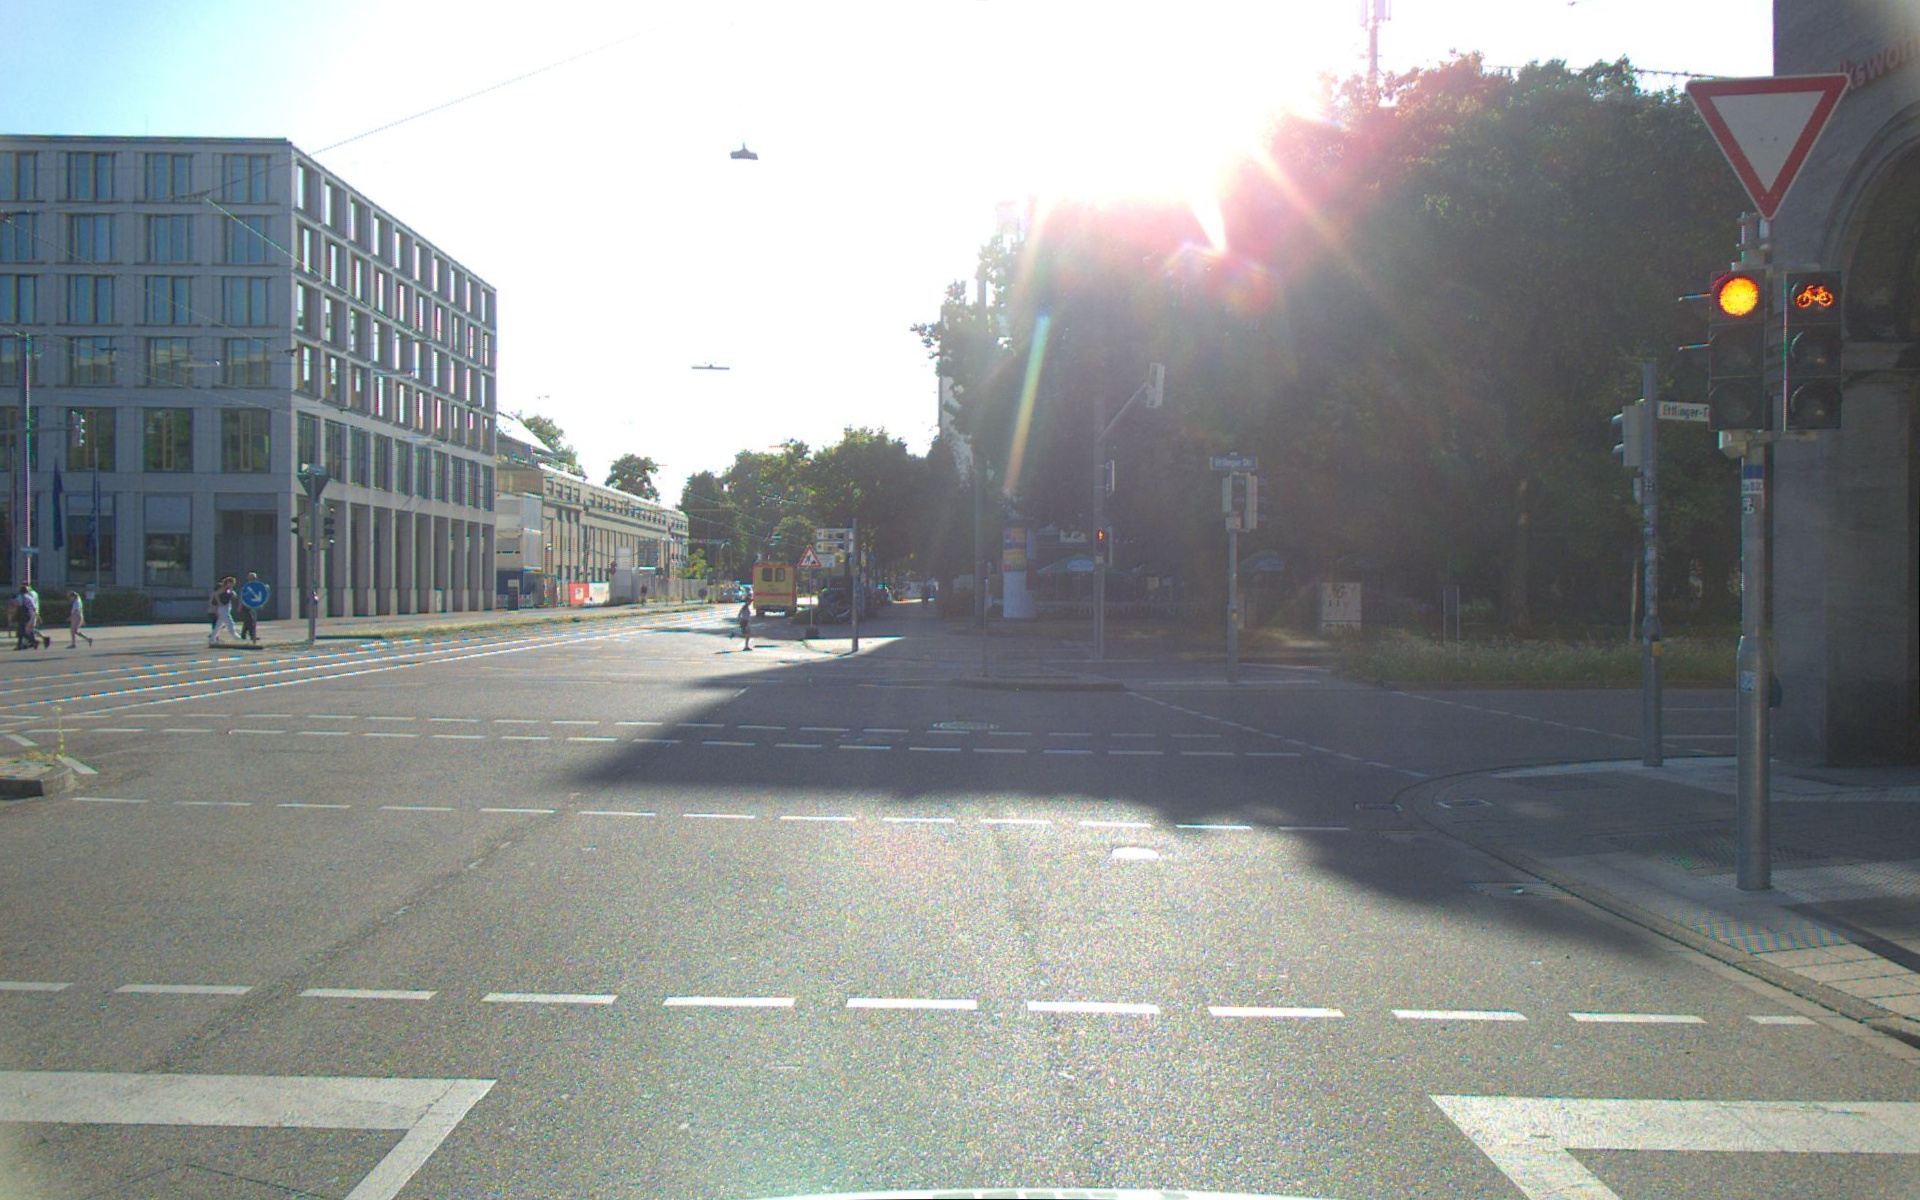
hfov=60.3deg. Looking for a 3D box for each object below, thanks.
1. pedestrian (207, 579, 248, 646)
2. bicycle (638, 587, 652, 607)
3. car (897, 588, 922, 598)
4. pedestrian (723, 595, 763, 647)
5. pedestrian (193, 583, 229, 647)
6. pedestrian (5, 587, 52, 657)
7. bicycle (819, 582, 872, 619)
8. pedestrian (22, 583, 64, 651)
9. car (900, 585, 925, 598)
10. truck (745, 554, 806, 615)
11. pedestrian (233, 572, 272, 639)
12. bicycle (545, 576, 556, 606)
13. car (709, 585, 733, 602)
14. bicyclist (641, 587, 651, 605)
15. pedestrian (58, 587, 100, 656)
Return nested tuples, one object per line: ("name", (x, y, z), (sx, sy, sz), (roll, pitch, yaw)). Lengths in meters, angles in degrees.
("pedestrian", (-18.473, 0.308, 41.725), (0.777, 1.673, 0.620), (0, 0, -5))
("bicycle", (-24.662, -0.191, 129.563), (0.676, 1.538, 2.943), (1, 0, -3))
("car", (-6.480, -0.911, 211.080), (3.153, 1.285, 1.372), (1, 0, -2))
("pedestrian", (-5.706, 0.540, 43.554), (0.974, 1.340, 0.766), (0, 0, -4))
("pedestrian", (-19.856, 0.400, 43.864), (0.680, 1.673, 0.621), (0, 0, 0))
("pedestrian", (-24.307, 0.569, 43.166), (0.852, 1.835, 0.664), (0, 0, 4))
("bicycle", (-5.625, 0.045, 81.365), (2.495, 1.774, 1.037), (1, 0, -1))
("pedestrian", (-24.687, 0.452, 44.536), (0.723, 1.835, 0.716), (0, 0, 4))
("car", (-6.128, -1.100, 213.372), (3.152, 1.616, 1.445), (1, 0, -5))
("truck", (-9.548, -0.772, 86.273), (2.662, 3.068, 6.486), (0, 0, -2))
("pedestrian", (-19.218, 0.148, 44.925), (0.732, 1.792, 0.678), (-1, -1, 4))
("bicycle", (-32.146, -0.682, 129.795), (0.559, 2.336, 1.422), (0, 0, -2))
("car", (-22.539, -0.617, 156.180), (1.856, 1.635, 4.498), (0, 0, -3))
("bicyclist", (-24.615, -0.294, 129.634), (0.676, 1.351, 0.999), (1, 0, -3))
("pedestrian", (-23.691, 0.582, 44.483), (0.851, 1.835, 0.532), (0, 0, 4))
